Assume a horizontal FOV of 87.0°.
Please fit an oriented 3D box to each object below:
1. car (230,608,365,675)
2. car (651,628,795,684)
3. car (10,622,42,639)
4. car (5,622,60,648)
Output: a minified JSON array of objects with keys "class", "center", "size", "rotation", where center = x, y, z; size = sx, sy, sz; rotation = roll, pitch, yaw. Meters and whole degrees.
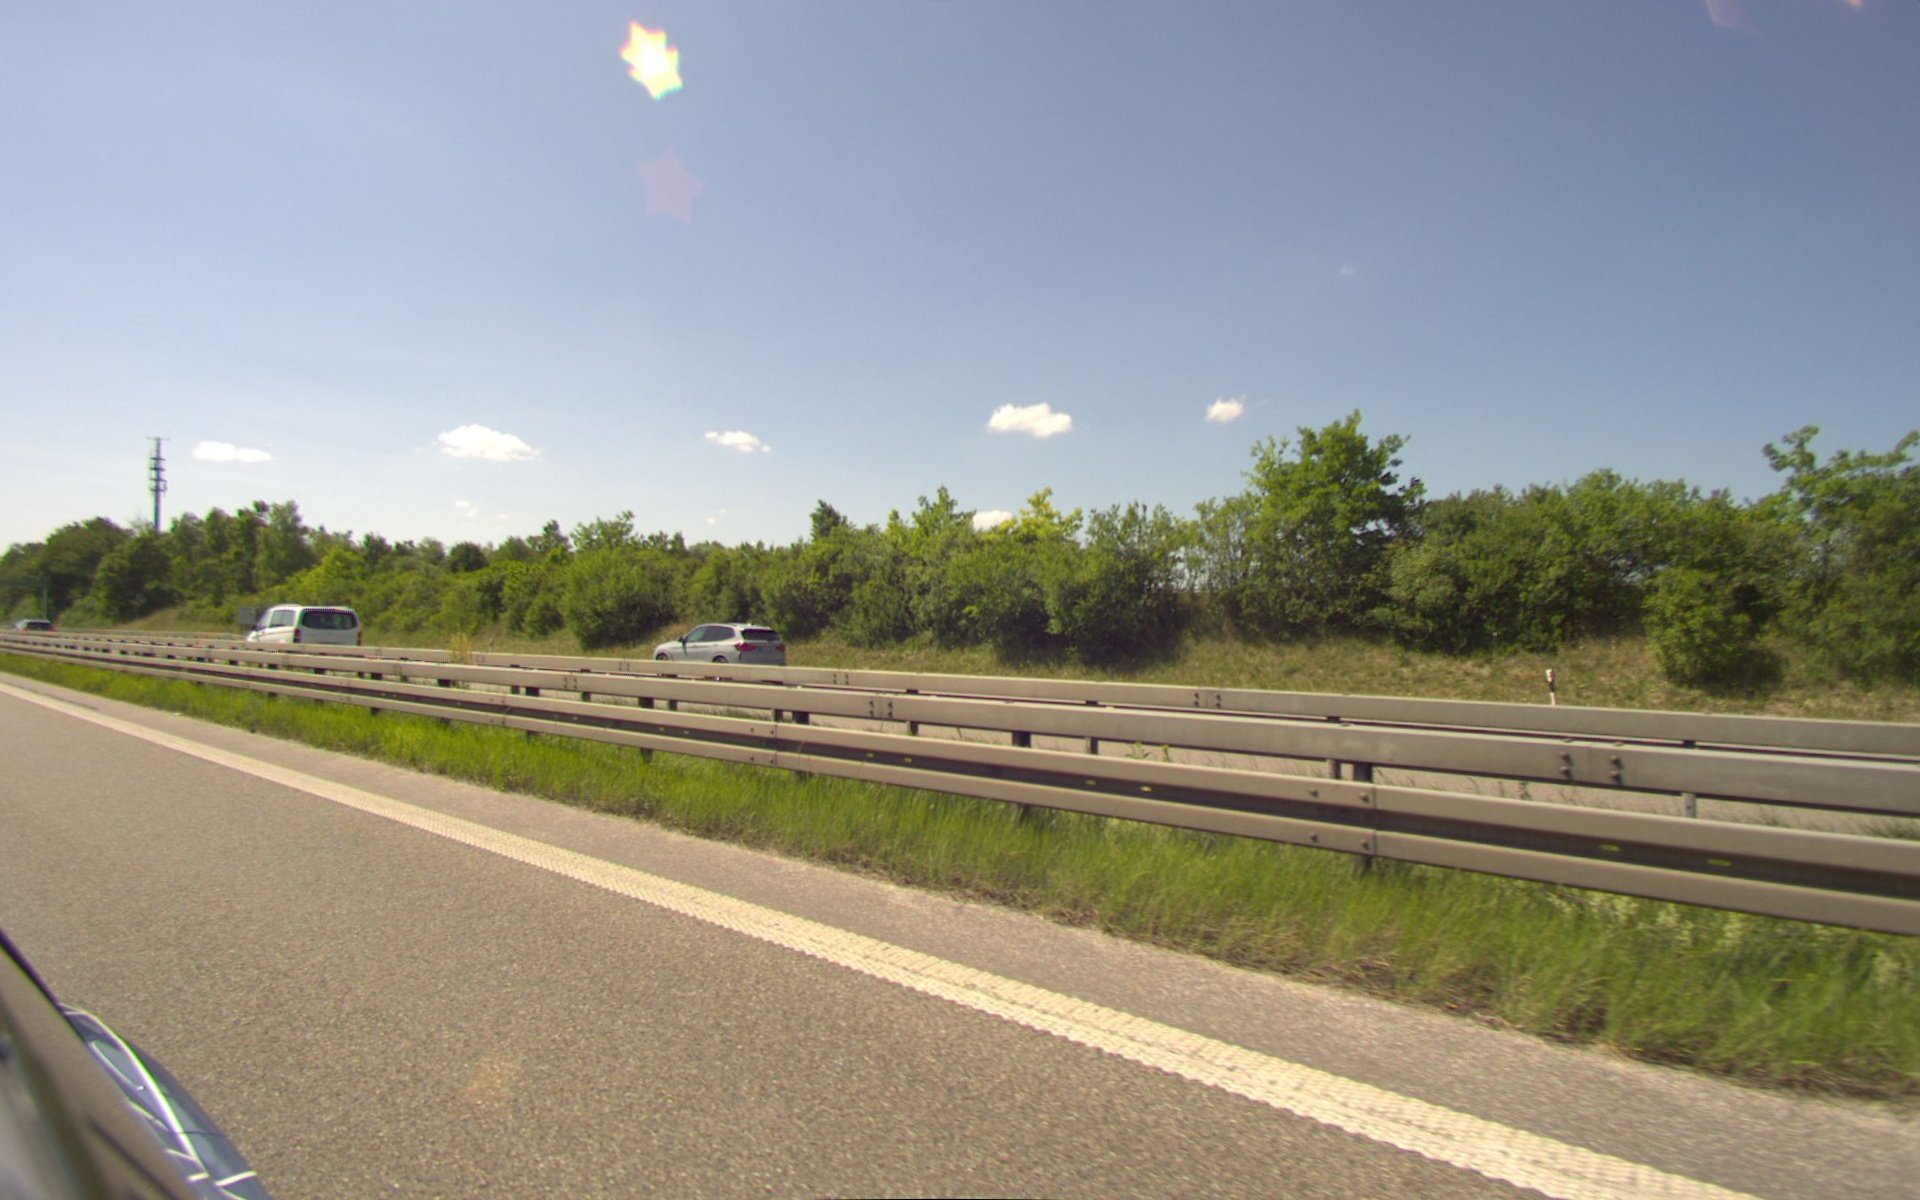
[{"class":"car","center":[-20.570,1.262,31.323],"size":[5.513,1.887,1.901],"rotation":[-1,-5,40]},{"class":"car","center":[-6.905,1.562,29.176],"size":[4.519,1.450,1.769],"rotation":[-1,-1,41]},{"class":"car","center":[-84.950,2.727,92.004],"size":[4.231,1.470,1.724],"rotation":[-1,-1,41]},{"class":"car","center":[-55.578,2.073,60.630],"size":[4.202,1.450,1.973],"rotation":[-1,-1,41]}]
